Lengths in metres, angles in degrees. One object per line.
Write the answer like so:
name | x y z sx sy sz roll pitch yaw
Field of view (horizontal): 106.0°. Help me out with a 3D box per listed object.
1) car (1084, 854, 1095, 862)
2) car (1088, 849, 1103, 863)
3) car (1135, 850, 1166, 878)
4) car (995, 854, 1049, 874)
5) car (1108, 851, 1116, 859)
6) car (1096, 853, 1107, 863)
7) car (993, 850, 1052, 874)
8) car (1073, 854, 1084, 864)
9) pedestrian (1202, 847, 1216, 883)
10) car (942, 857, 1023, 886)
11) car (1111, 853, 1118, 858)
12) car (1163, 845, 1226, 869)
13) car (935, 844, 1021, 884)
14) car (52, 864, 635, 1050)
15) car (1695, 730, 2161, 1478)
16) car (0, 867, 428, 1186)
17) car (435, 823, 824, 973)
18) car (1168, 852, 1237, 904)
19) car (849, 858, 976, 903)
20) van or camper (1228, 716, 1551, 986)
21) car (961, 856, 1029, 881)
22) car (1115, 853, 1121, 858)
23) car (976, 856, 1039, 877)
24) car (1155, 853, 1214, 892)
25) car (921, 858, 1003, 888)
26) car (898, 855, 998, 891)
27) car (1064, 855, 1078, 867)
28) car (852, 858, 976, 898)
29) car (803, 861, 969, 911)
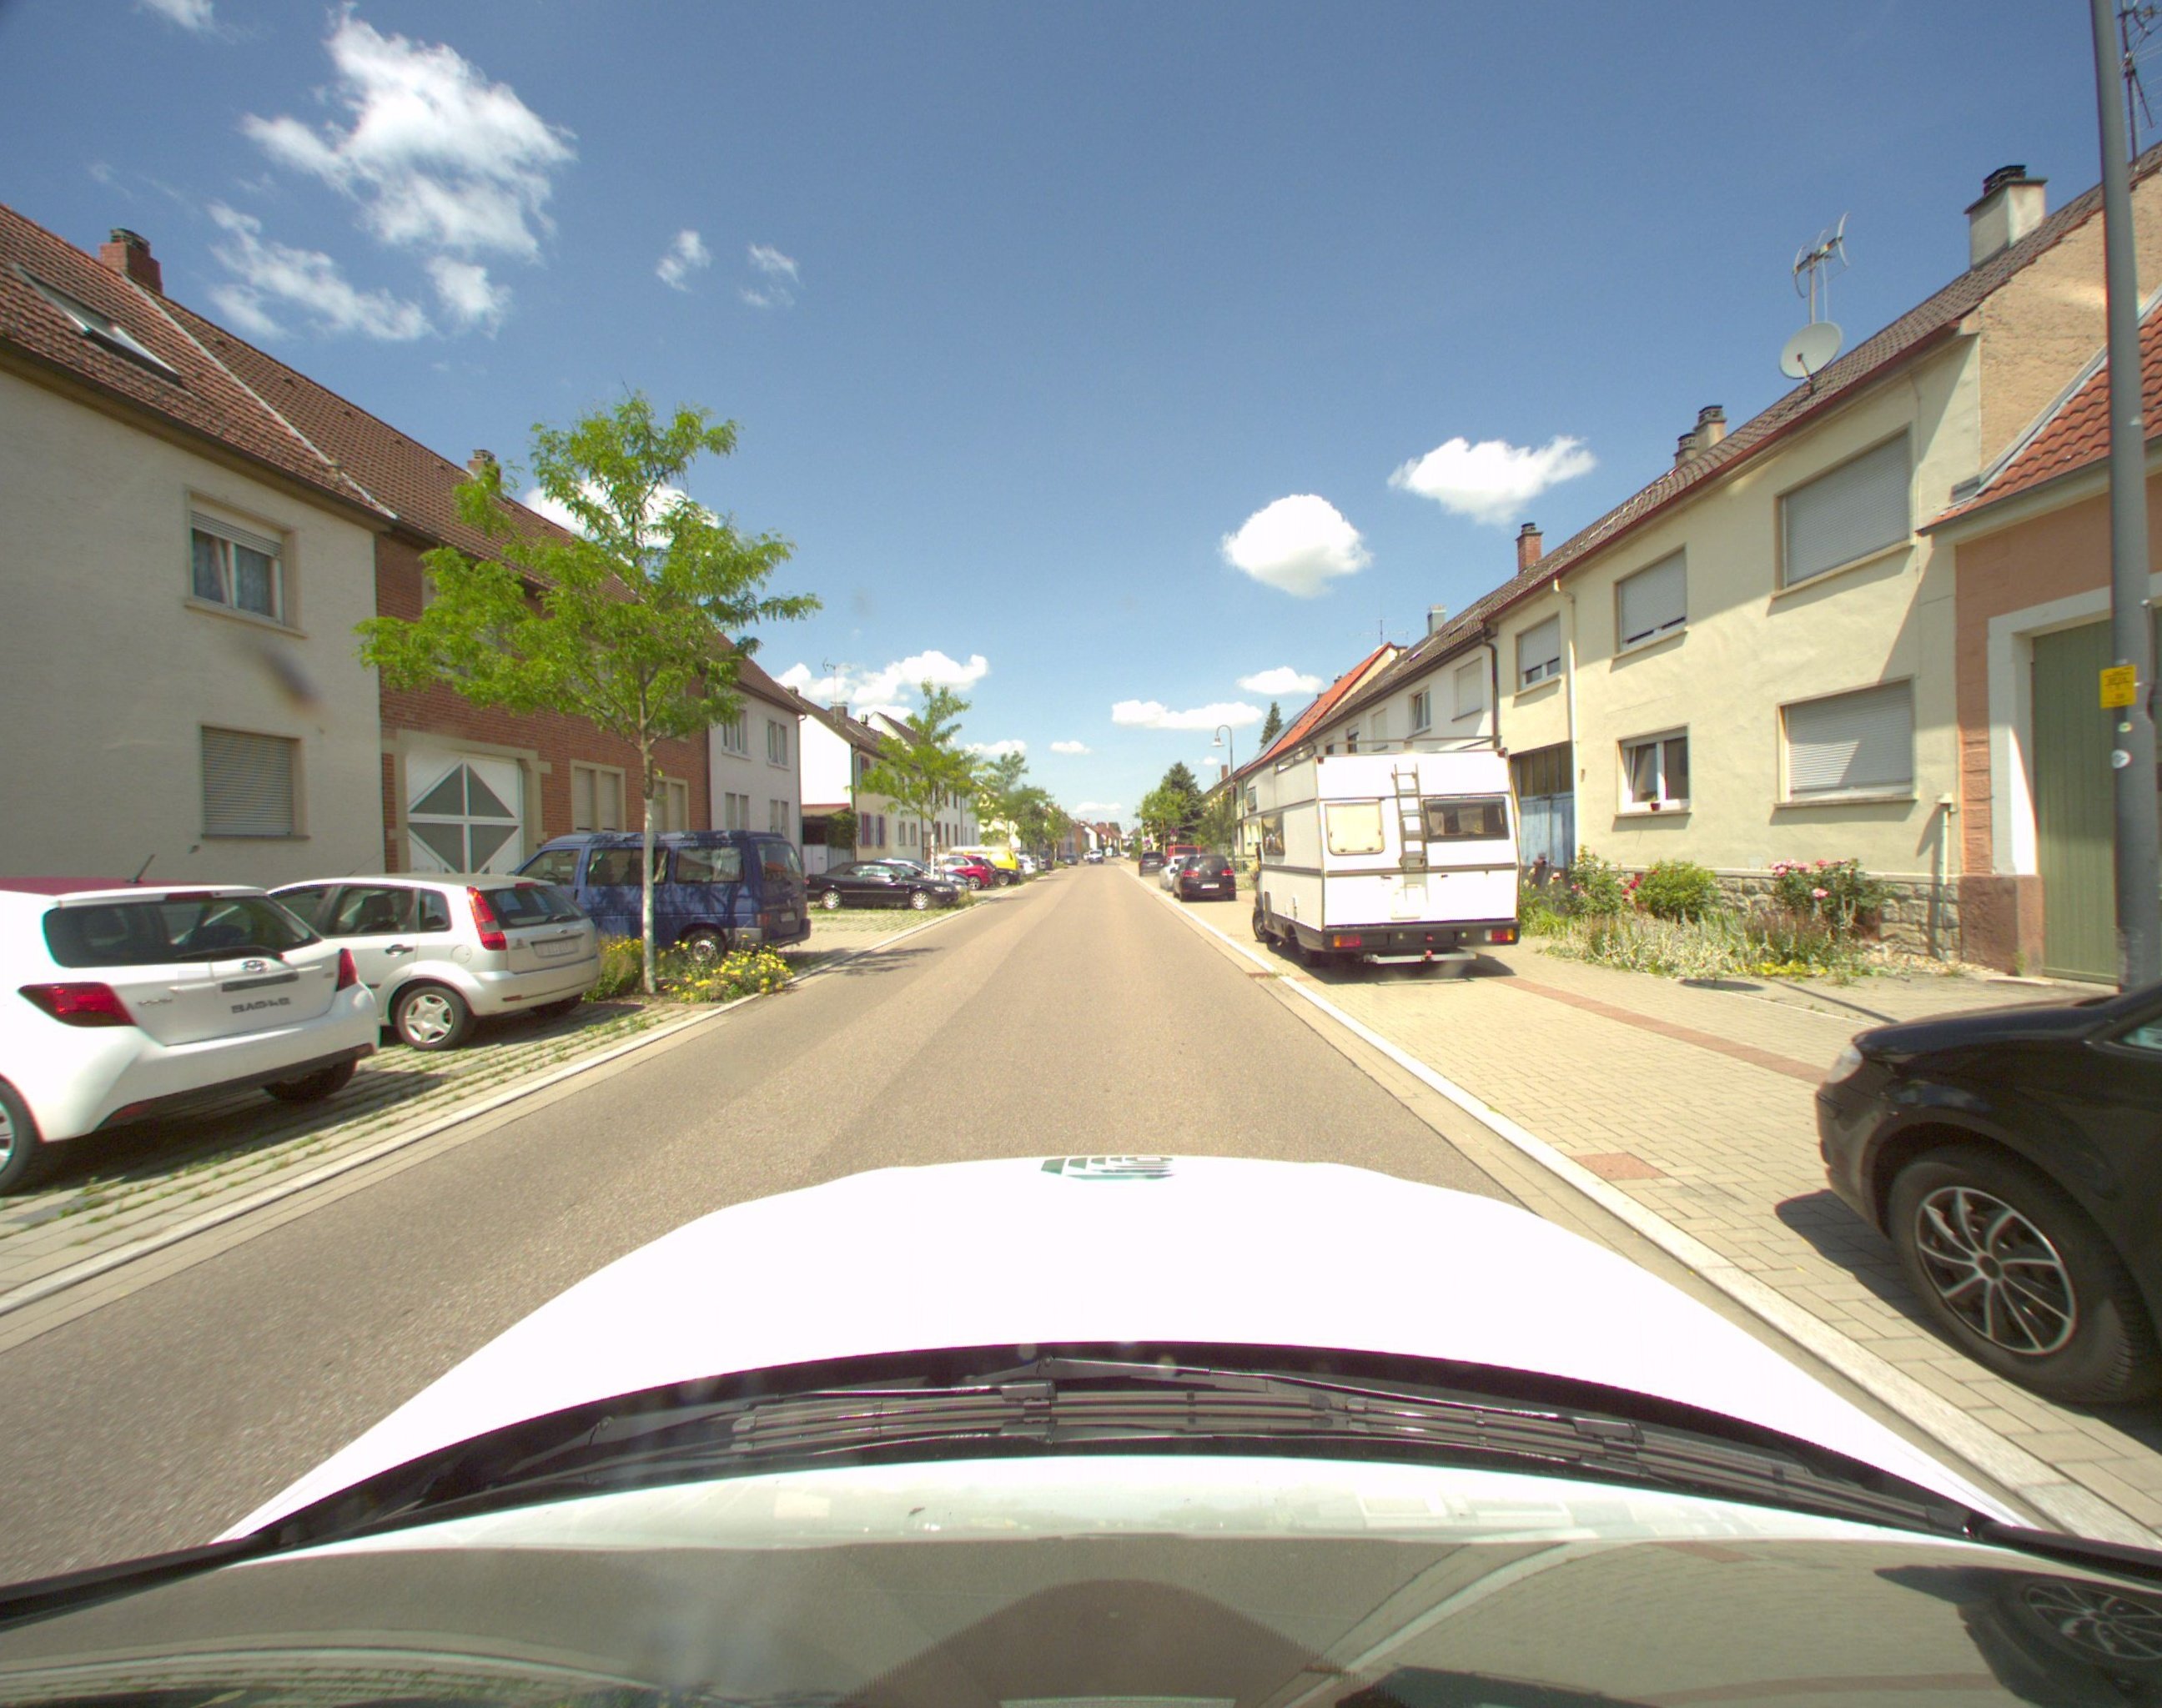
car | 1.704 0.780 161.489 1.841 1.659 4.005 1 0 4
car | 2.003 0.330 114.618 2.016 1.950 4.898 -2 -1 1
car | 4.553 0.624 53.737 1.856 1.635 4.451 -4 0 4
car | -4.658 0.828 64.825 4.172 1.569 1.772 0 -1 -2
car | 8.679 0.293 231.034 2.035 2.312 3.777 0 -1 5
car | 3.539 0.707 139.294 1.757 1.523 4.049 -3 0 1
car | -4.852 0.670 67.586 4.683 1.923 1.938 0 -1 1
car | -0.406 0.910 148.519 1.804 1.609 4.002 1 0 2
pedestrian | 6.376 0.538 40.459 0.555 1.749 0.673 -2 -1 2
car | -5.158 0.903 42.835 3.995 1.459 1.756 0 0 1
car | 10.418 0.424 253.276 1.683 1.504 3.777 0 -1 5
car | 8.815 0.255 63.497 4.603 1.893 2.020 0 -1 0
car | -5.695 0.539 45.415 4.492 2.177 1.926 0 0 1
car | -6.605 0.860 7.612 3.899 1.488 1.774 0 0 3
car | 3.306 0.555 1.116 1.760 1.705 4.327 -1 0 2
car | -6.526 0.842 4.841 3.899 1.488 1.774 0 0 3
car | -6.396 0.597 11.905 4.593 1.996 1.954 0 0 3
car | 3.872 0.735 26.597 1.760 1.529 4.009 -1 0 2
car | -5.772 0.905 28.249 4.042 1.478 1.775 0 0 -2
van or camper | 3.853 -0.045 11.696 2.464 2.810 5.792 -2 0 1
car | -5.277 0.893 49.934 4.068 1.468 1.749 0 0 -7
car | 11.972 0.509 260.720 1.683 1.660 3.777 0 -1 5
car | -5.206 0.863 57.952 4.277 1.468 1.775 0 -1 3
car | 4.230 0.732 33.812 1.826 1.465 4.518 -1 0 0
car | -5.833 0.916 40.315 3.780 1.459 1.754 0 0 -2
car | -6.073 0.860 37.500 4.238 1.611 1.843 0 0 0
car | -1.382 0.940 112.399 1.811 1.433 4.138 2 1 -1
car | -6.344 0.906 31.301 4.392 1.478 1.774 0 0 -3
car | -5.738 0.935 24.359 4.508 1.425 1.796 0 0 1
